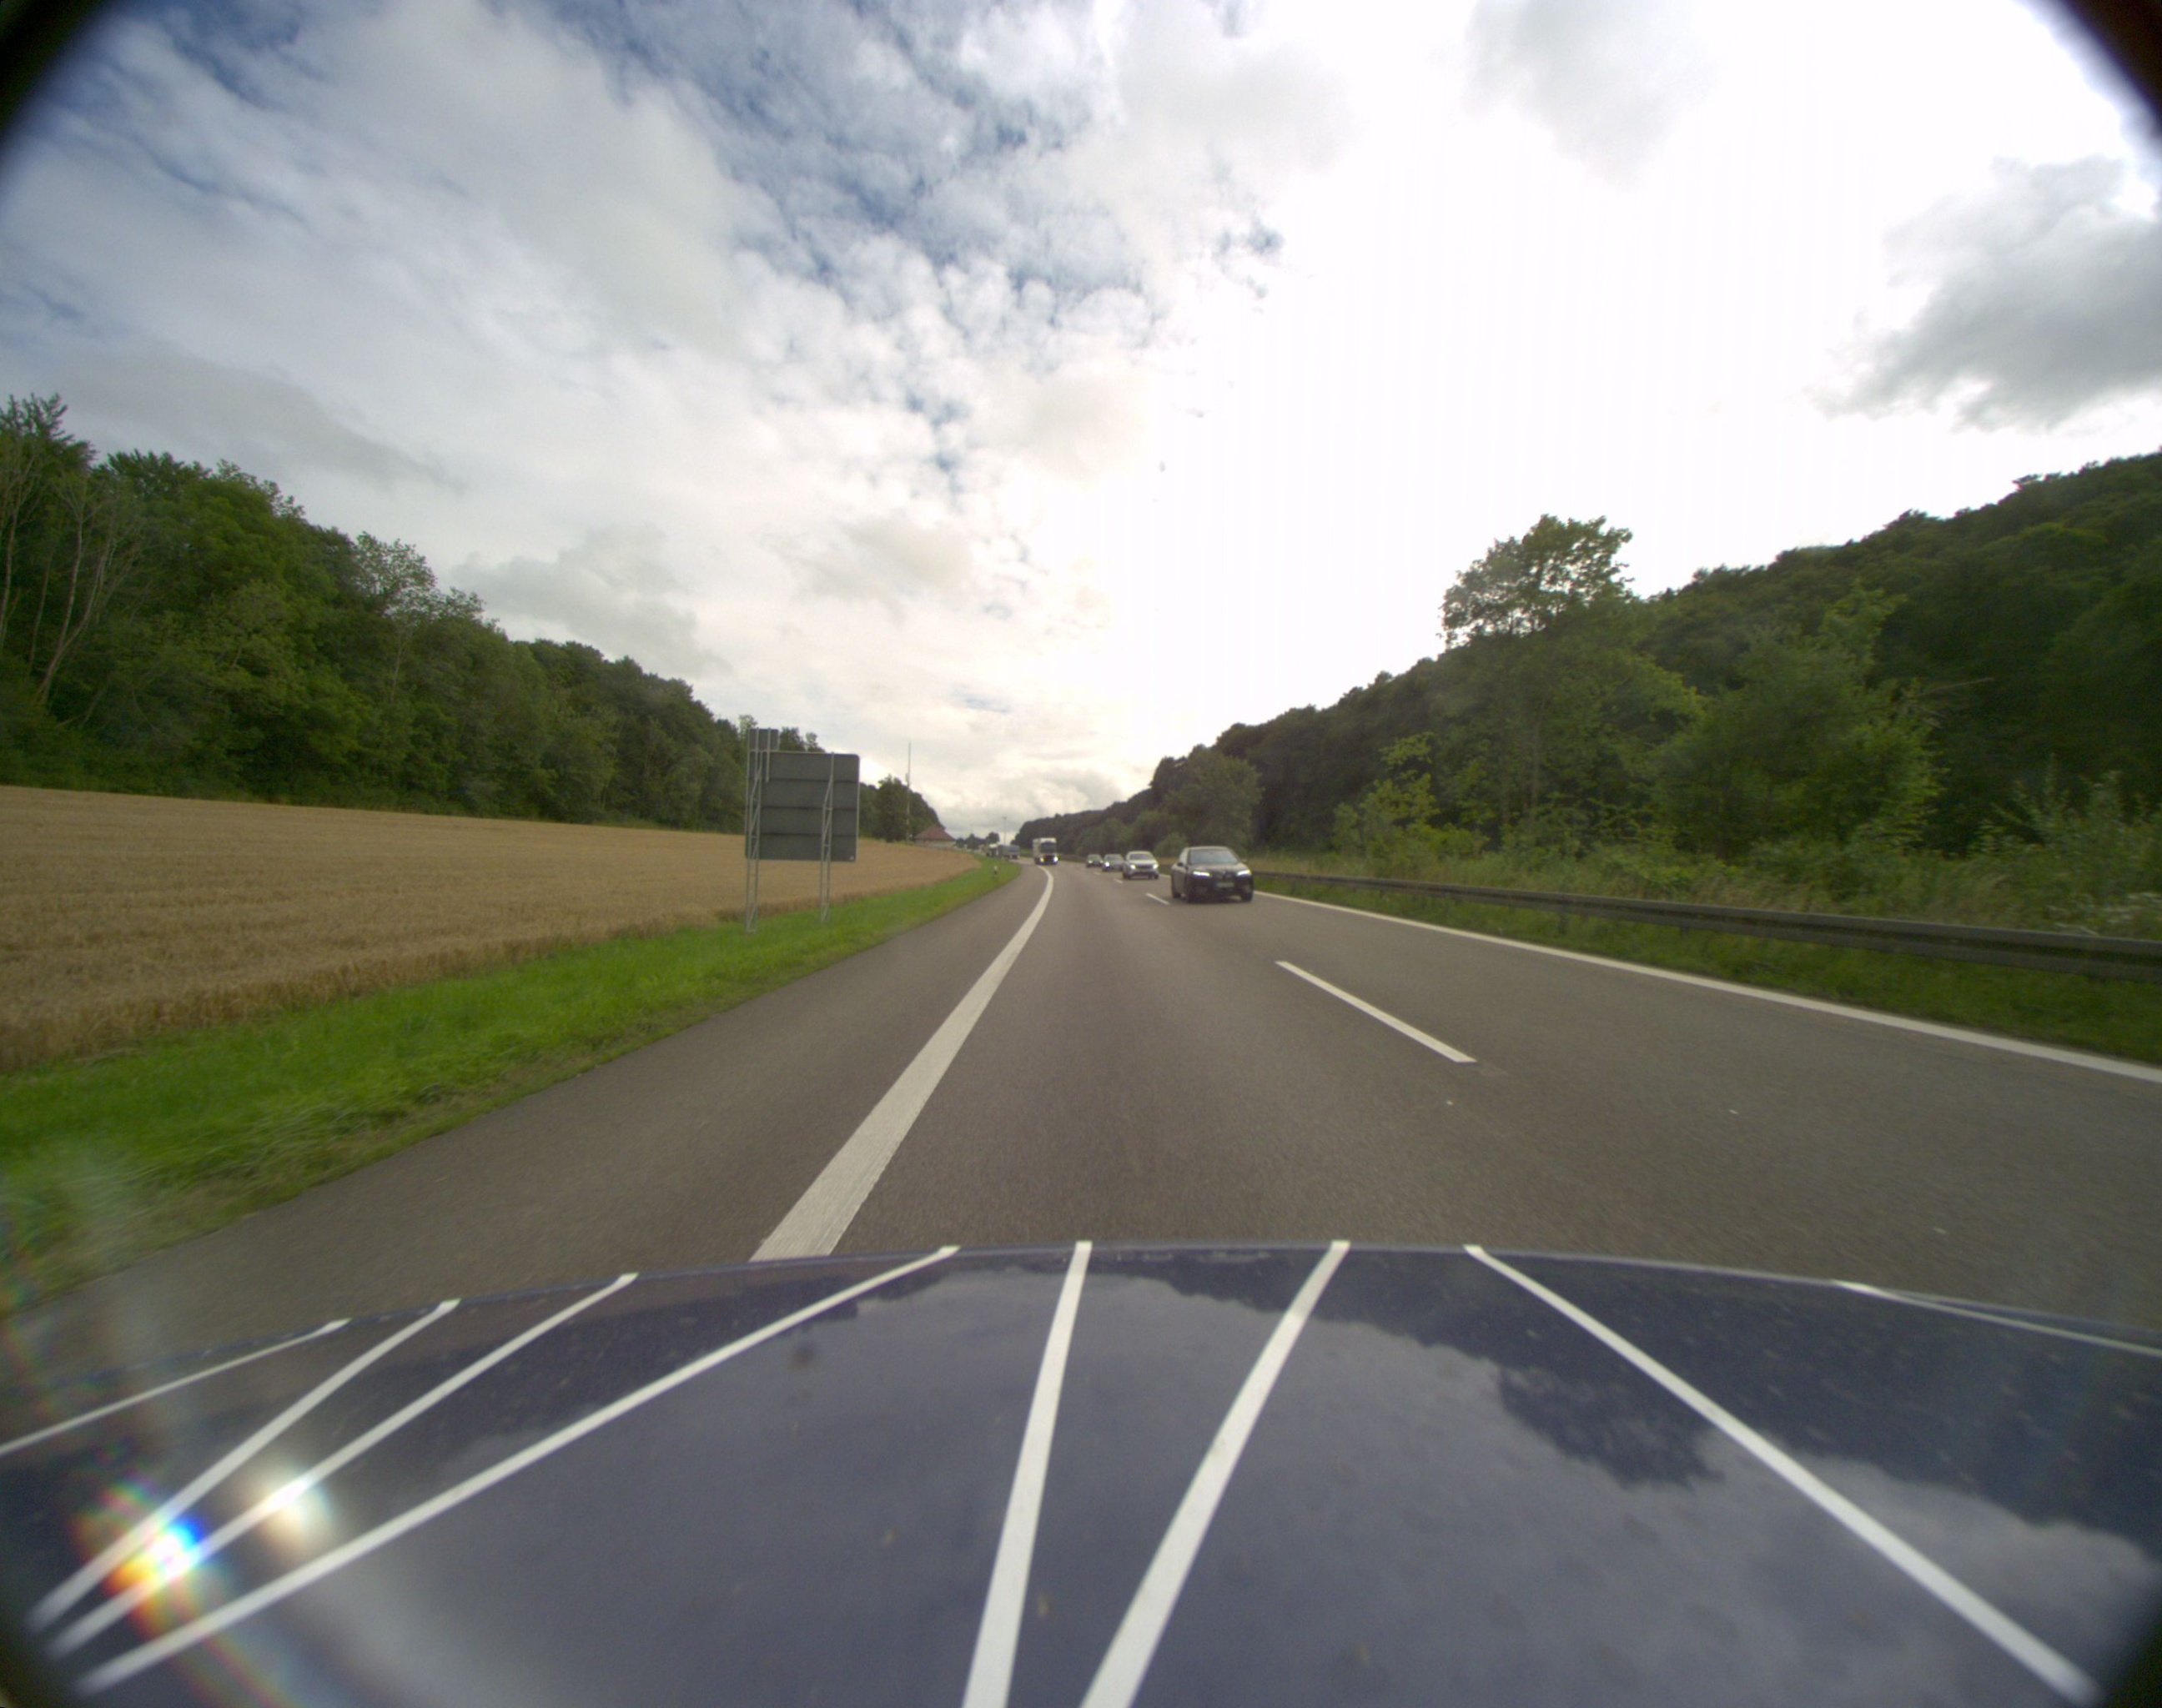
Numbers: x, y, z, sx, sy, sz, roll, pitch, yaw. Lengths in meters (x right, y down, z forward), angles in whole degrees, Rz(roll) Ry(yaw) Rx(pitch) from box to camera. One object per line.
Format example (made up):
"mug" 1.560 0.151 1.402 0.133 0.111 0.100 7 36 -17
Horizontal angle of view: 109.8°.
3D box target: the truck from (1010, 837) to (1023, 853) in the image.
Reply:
"truck" -16.323 -2.162 192.135 2.797 3.949 5.935 -1 1 -8

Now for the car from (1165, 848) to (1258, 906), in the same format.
"car" 4.015 0.649 24.128 1.999 1.656 4.413 -1 1 -2

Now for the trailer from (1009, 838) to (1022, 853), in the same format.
"trailer" -17.044 -2.199 197.312 2.788 3.932 11.287 -1 1 -8

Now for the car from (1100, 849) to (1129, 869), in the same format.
"car" 2.894 0.380 66.454 1.999 1.656 4.413 -1 1 -4

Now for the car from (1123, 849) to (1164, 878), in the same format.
"car" 3.735 0.536 46.336 1.999 1.656 4.414 -1 1 -1

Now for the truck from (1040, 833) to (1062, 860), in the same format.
"truck" -4.586 -1.132 113.746 2.797 3.949 5.936 -1 1 -6

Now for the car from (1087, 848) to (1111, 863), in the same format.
"car" 1.960 0.149 85.946 2.000 1.656 4.411 -1 1 -8

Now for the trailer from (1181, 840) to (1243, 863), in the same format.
"trailer" 19.943 -0.373 116.959 3.164 3.201 13.793 -2 0 -18

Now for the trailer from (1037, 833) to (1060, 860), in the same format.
"trailer" -5.135 -1.156 118.661 2.788 3.932 11.288 -1 1 -7
